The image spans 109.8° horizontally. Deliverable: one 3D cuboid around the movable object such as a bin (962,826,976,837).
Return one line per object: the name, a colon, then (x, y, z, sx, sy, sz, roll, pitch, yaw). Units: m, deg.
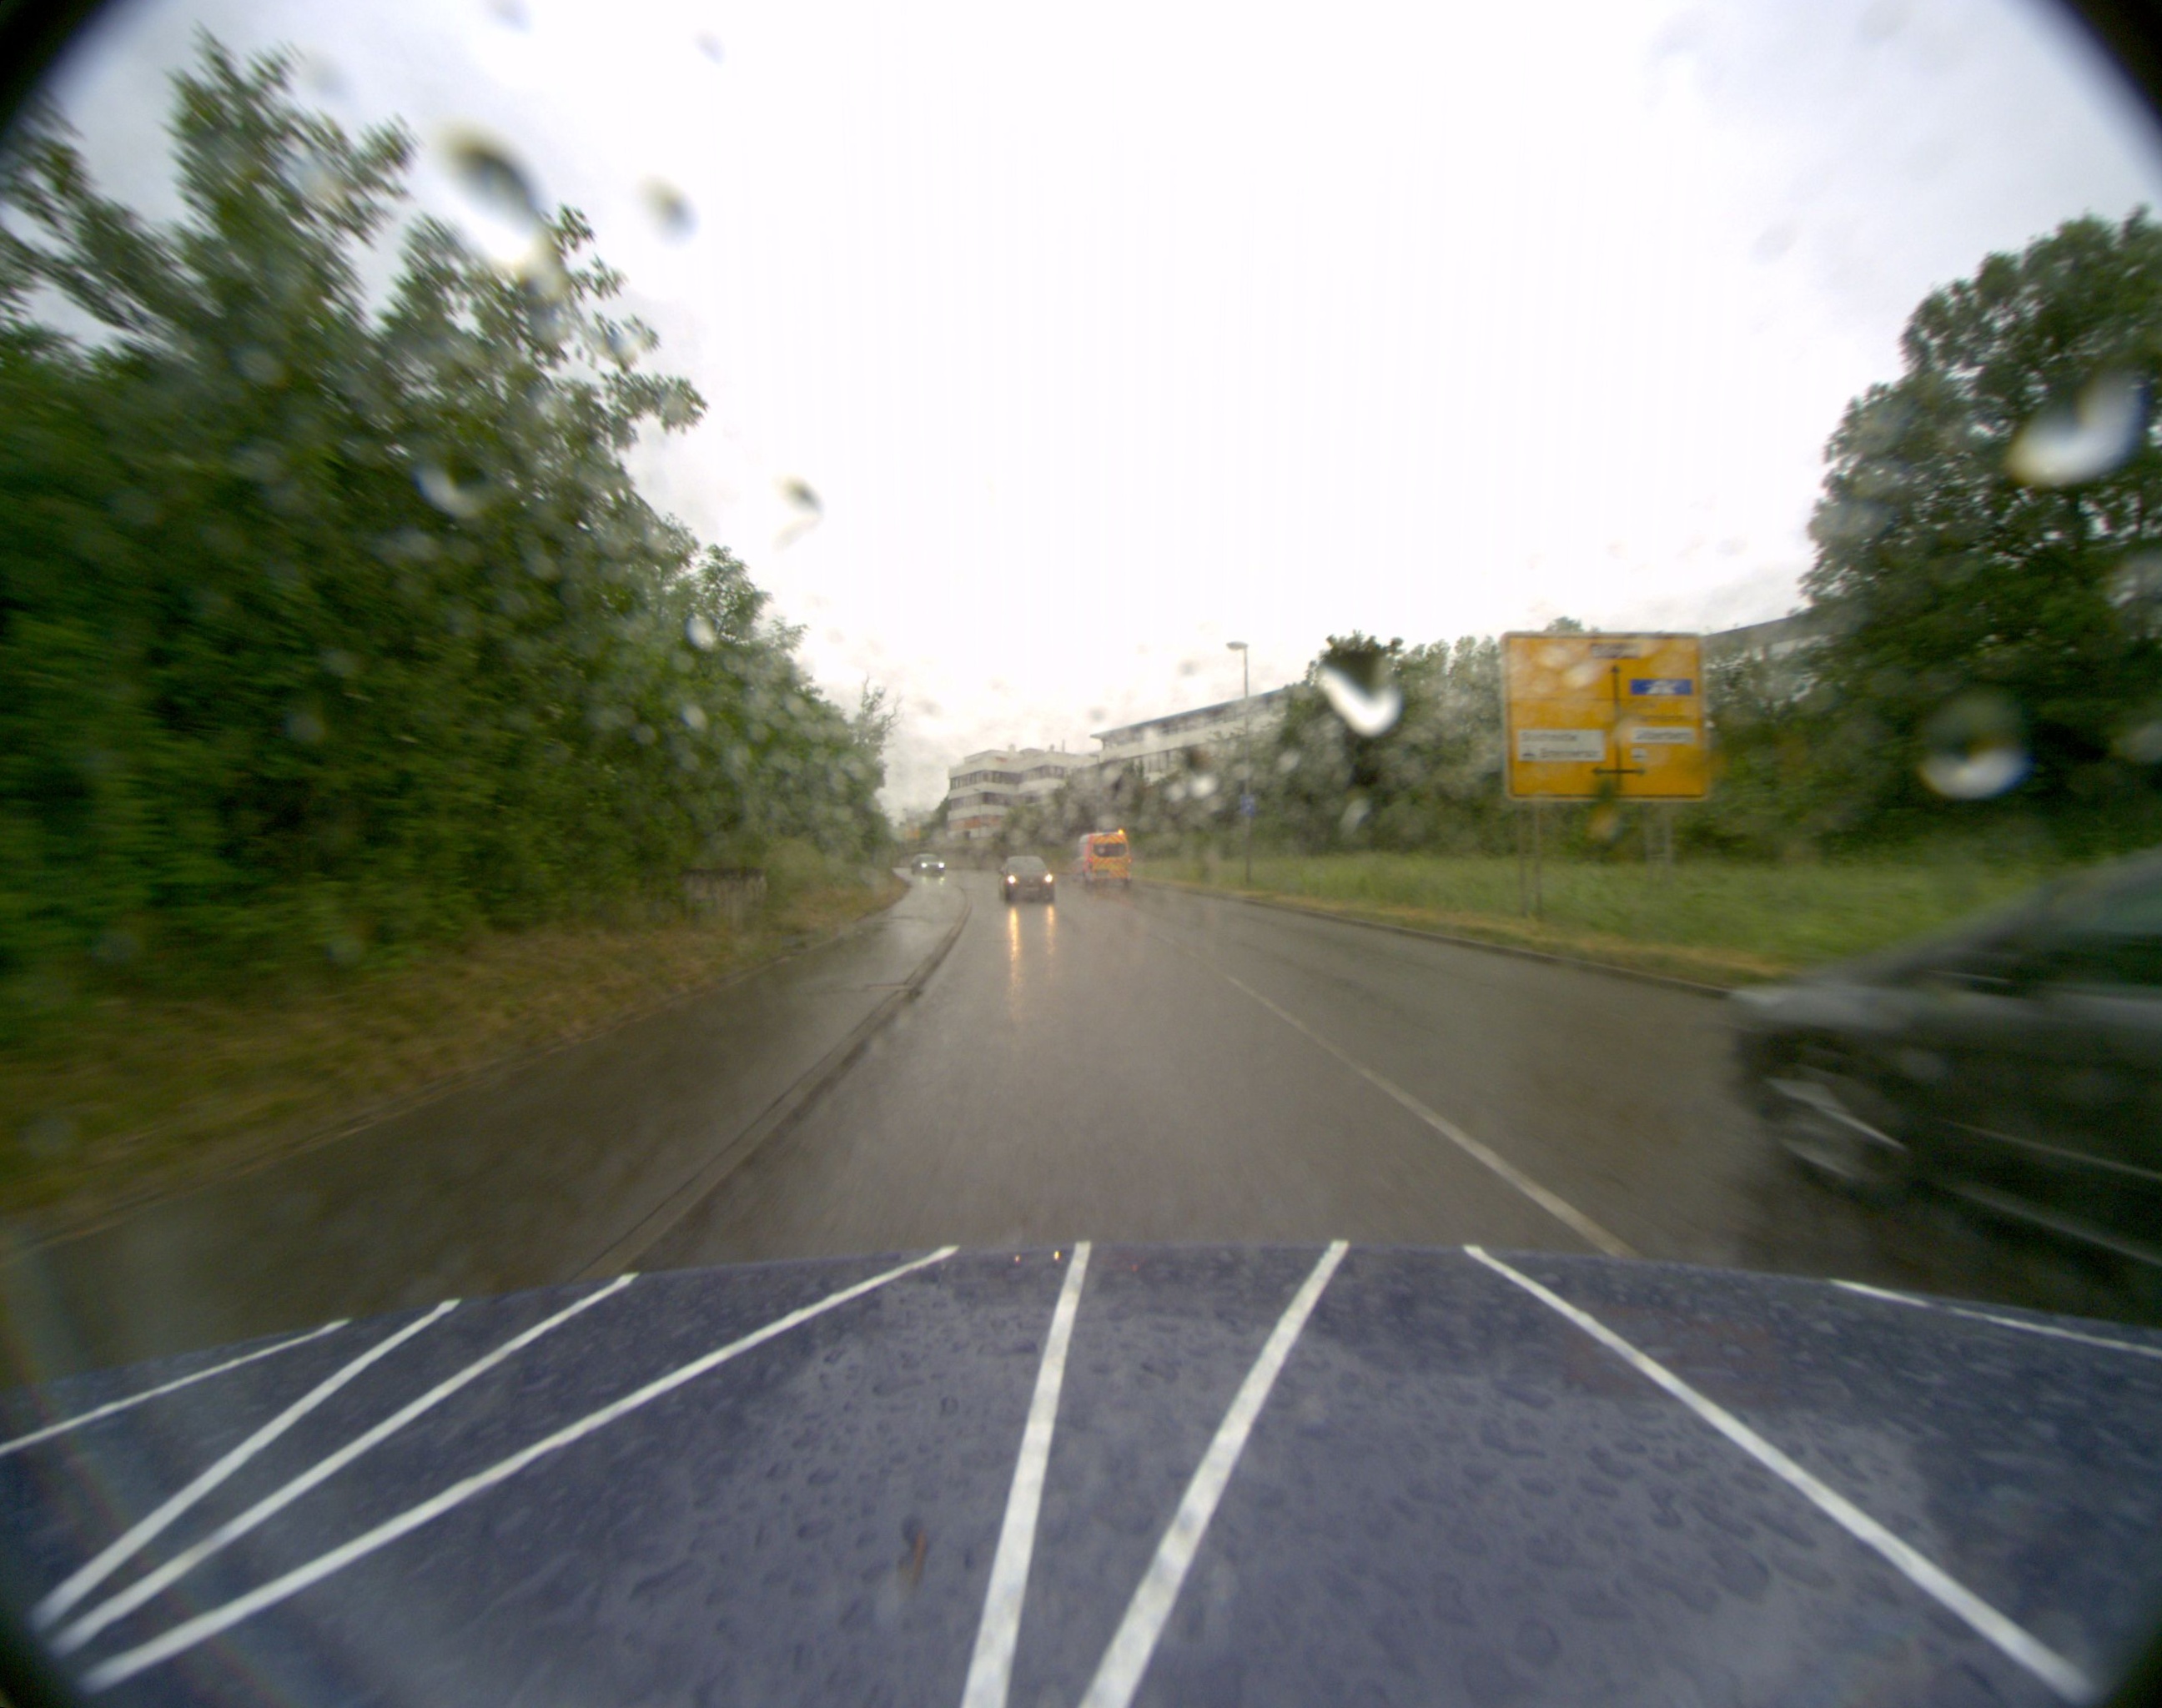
movable object such as a bin: (-13.223, -2.665, 89.745, 1.247, 1.338, 1.214, 0, 0, -30)

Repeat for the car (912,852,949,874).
car: (-11.132, 0.660, 56.059, 1.877, 1.432, 4.370, 2, -1, -21)

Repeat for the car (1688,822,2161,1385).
car: (3.929, 0.686, 1.618, 1.869, 1.543, 4.265, -2, 1, 1)

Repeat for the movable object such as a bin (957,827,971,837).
movable object such as a bin: (-13.983, -2.603, 90.910, 1.247, 1.204, 1.339, 0, 0, -30)

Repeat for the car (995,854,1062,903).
car: (-1.944, 0.803, 27.040, 1.875, 1.433, 4.373, -3, 1, -10)

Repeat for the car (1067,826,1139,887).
car: (0.859, 0.072, 33.932, 2.051, 2.404, 5.450, -3, 1, -10)
